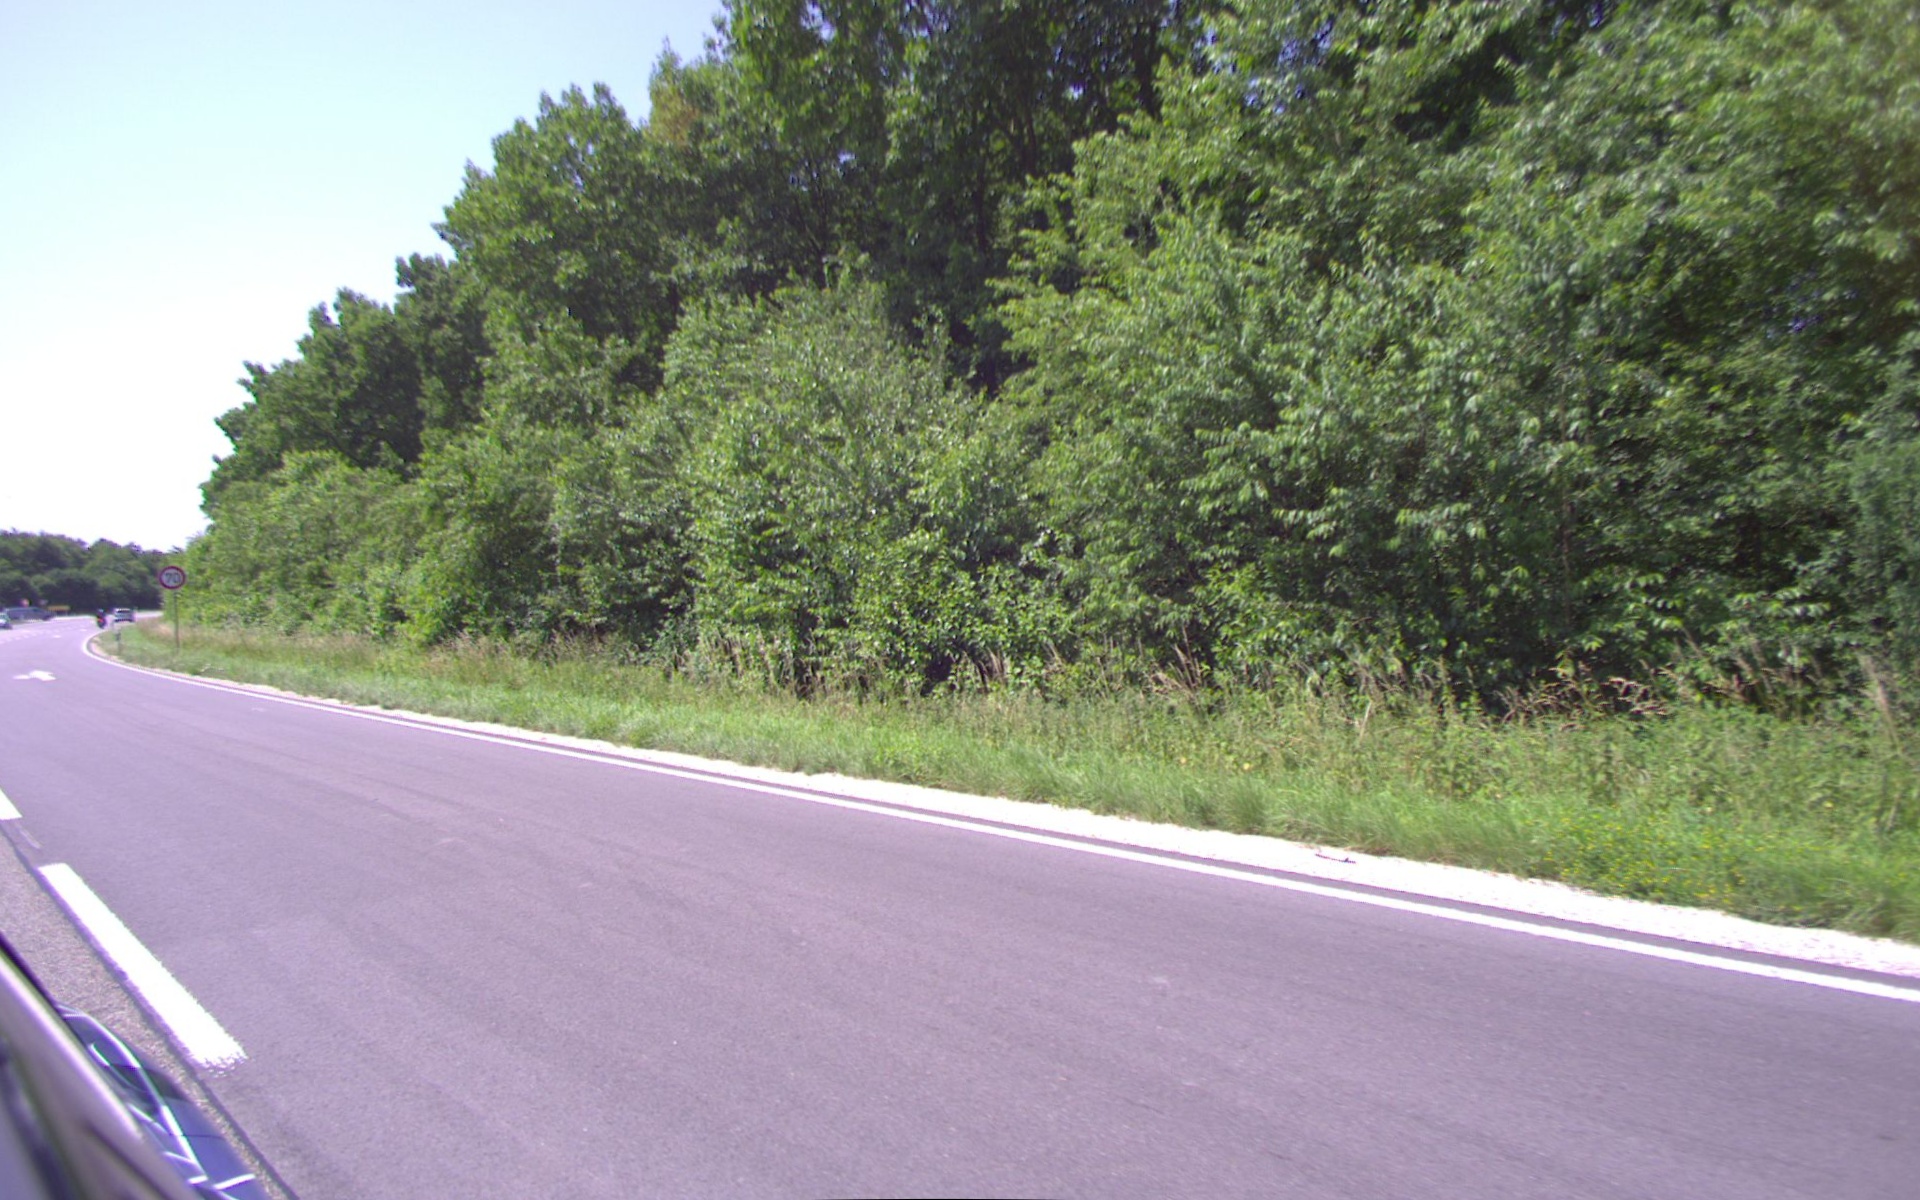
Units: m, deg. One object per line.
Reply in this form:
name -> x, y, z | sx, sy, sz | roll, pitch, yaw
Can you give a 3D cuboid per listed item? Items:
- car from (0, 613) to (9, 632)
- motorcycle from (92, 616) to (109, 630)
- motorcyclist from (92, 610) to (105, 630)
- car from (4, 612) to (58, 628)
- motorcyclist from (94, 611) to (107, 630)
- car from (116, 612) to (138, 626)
car -> -92.256, 2.179, 96.891 | 1.783, 1.821, 4.004 | -1, 0, -43
motorcycle -> -80.418, 2.181, 94.646 | 2.682, 1.260, 0.936 | -1, 0, 44
motorcyclist -> -80.486, 1.861, 94.578 | 0.657, 1.896, 0.811 | -1, 0, 43
car -> -127.295, 2.720, 138.743 | 2.012, 1.921, 5.162 | 0, 2, 39
motorcyclist -> -79.891, 1.908, 94.104 | 0.623, 1.765, 0.821 | -1, 0, 43
car -> -102.608, 2.296, 124.668 | 1.781, 1.649, 4.216 | -1, 0, -43
